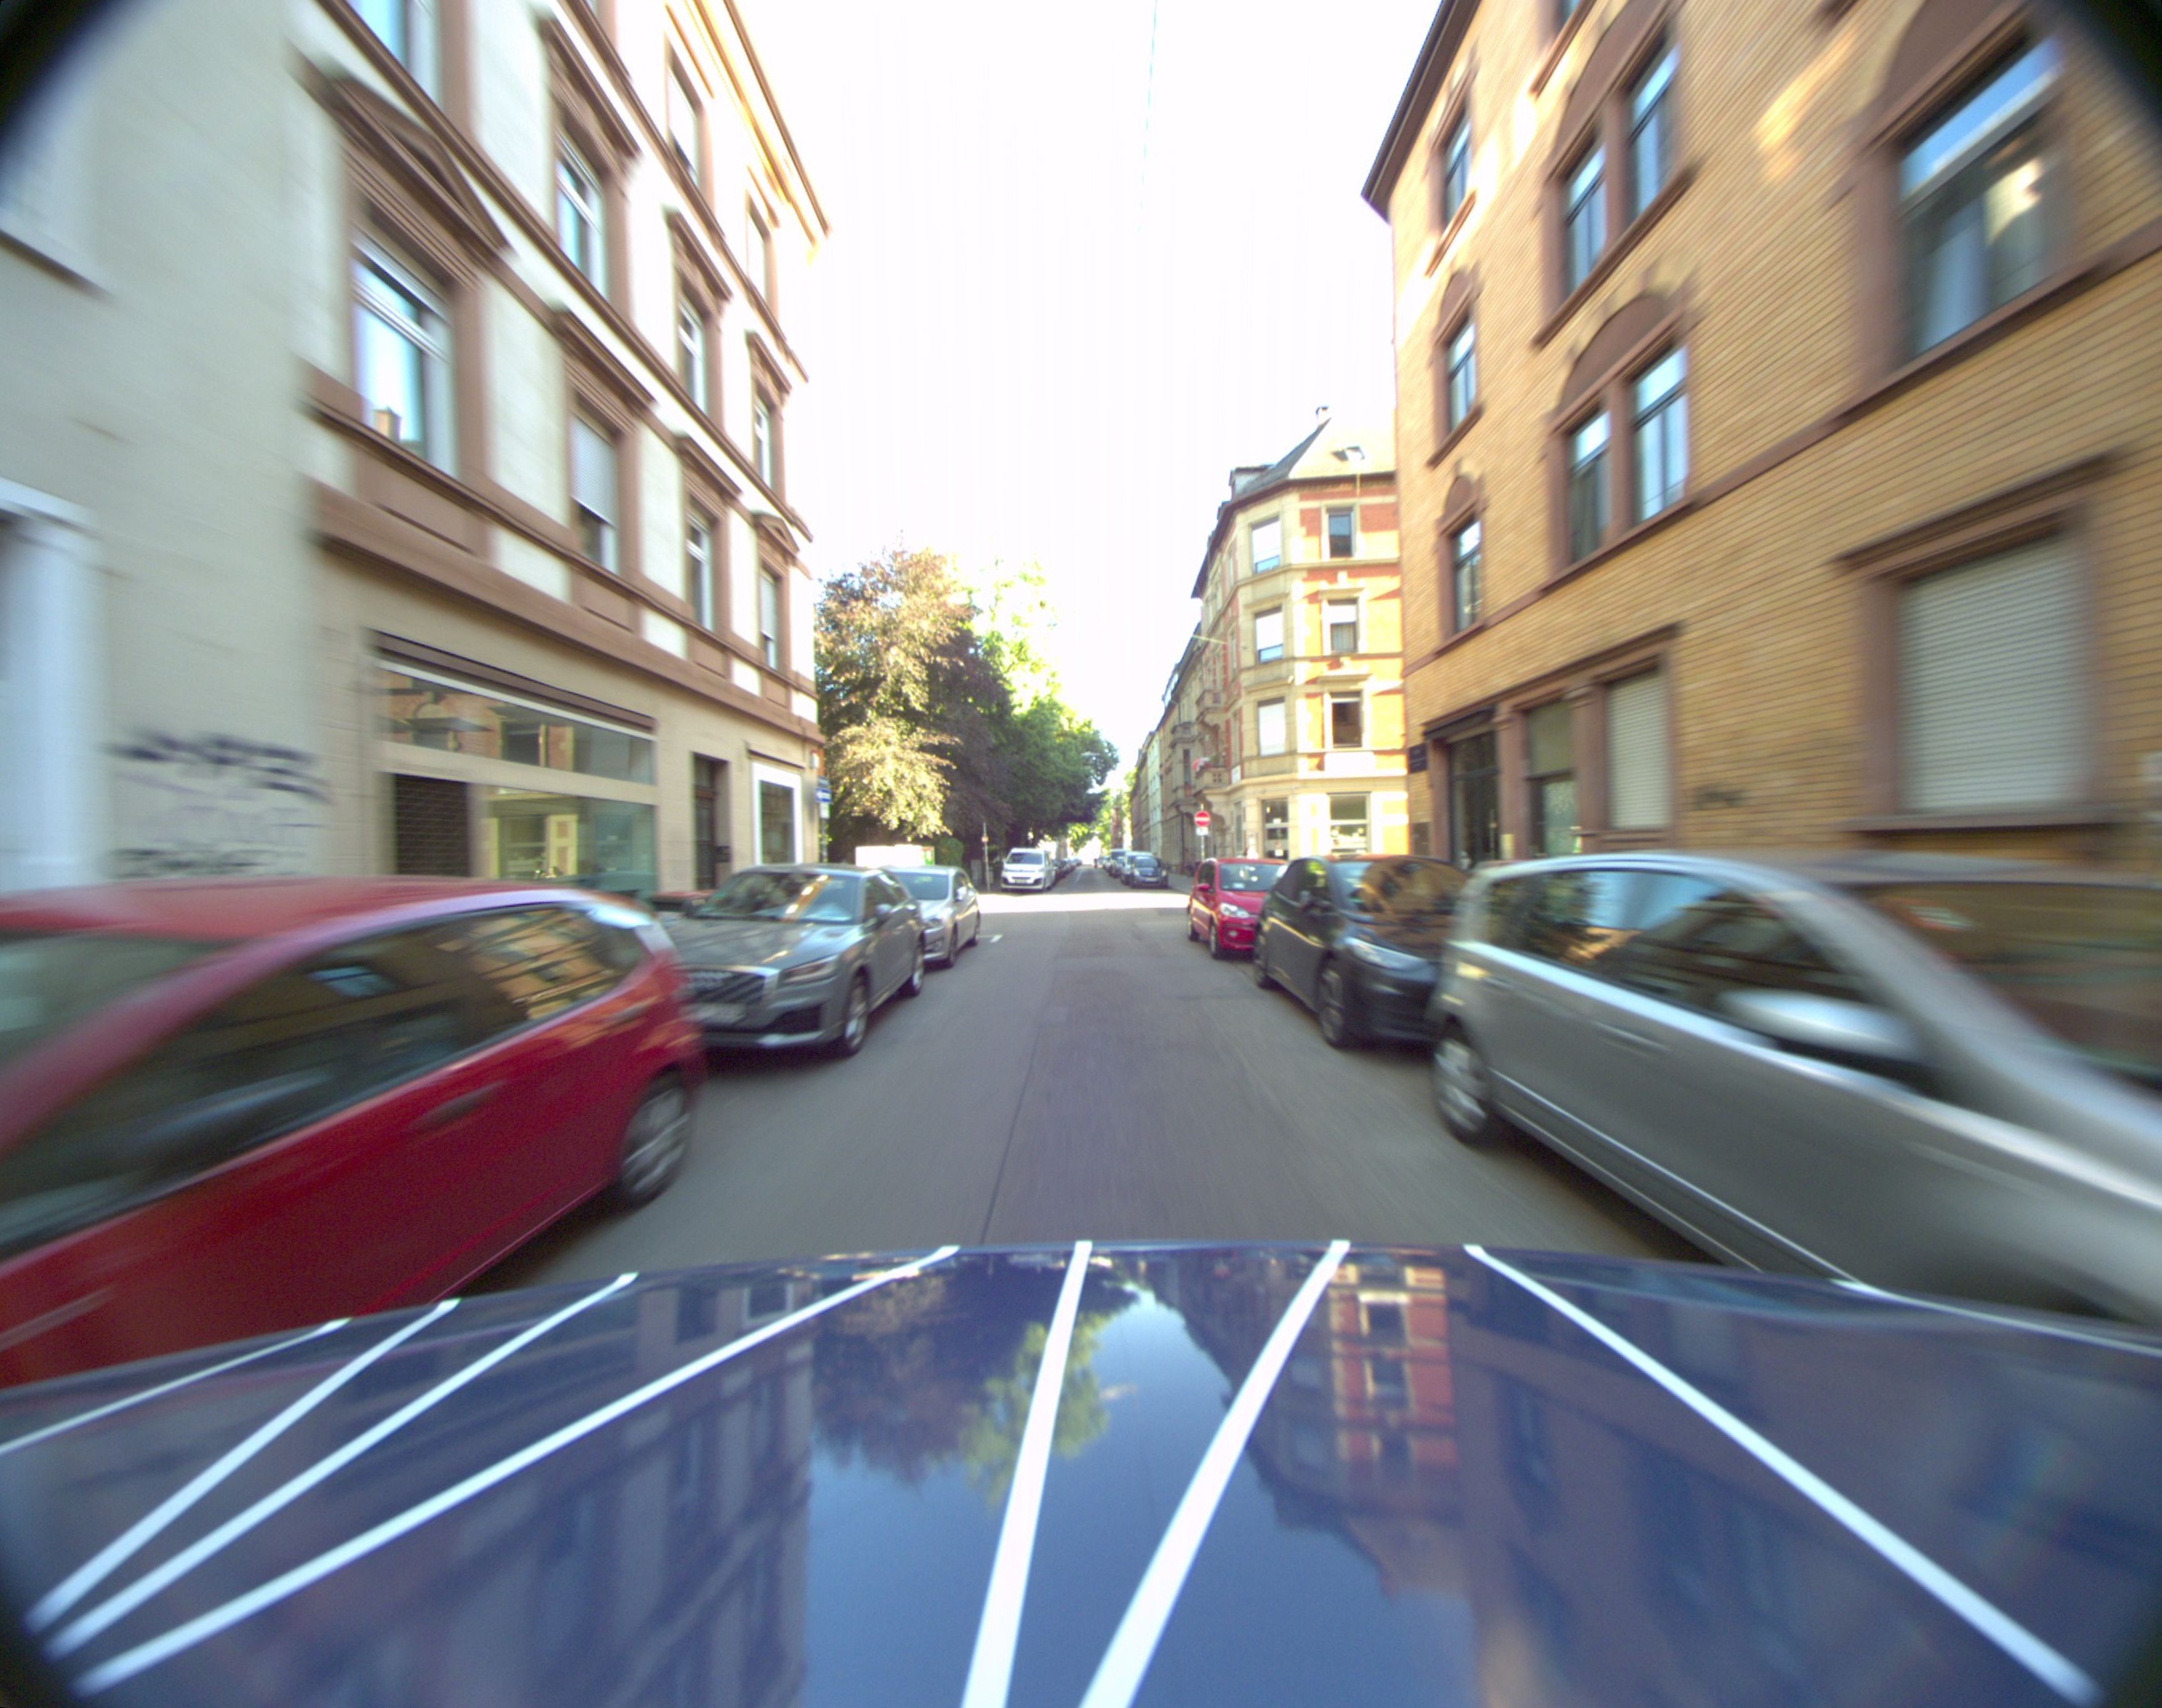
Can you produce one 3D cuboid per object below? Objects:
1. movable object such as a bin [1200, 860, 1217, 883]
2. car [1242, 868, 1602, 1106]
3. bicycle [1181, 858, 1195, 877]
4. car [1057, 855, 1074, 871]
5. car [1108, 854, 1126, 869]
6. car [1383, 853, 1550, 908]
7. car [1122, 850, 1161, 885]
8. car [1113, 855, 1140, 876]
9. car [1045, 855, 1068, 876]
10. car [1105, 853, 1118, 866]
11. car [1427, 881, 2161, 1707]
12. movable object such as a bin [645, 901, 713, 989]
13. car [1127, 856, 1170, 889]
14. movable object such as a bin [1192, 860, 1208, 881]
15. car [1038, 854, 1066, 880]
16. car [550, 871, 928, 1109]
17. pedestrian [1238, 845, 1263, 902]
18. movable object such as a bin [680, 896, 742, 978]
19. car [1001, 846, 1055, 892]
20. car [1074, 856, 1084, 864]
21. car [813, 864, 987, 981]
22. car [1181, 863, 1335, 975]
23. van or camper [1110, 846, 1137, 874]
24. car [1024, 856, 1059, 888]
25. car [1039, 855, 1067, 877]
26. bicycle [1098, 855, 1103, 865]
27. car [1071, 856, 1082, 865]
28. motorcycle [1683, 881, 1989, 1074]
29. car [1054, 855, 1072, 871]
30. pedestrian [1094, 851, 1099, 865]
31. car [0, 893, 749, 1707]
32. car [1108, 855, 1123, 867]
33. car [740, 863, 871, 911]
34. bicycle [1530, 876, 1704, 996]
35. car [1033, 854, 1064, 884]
[{"bbox_3d":[6.146,0.833,36.756,0.639,1.035,0.856,-4,1,1],"label":"movable object such as a bin"},{"bbox_3d":[2.709,0.921,7.138,1.699,1.512,4.096,0,0,3],"label":"car"},{"bbox_3d":[6.268,0.775,44.492,0.572,1.035,1.546,-4,0,1],"label":"bicycle"},{"bbox_3d":[-1.603,0.909,79.598,1.603,1.496,3.720,3,1,1],"label":"car"},{"bbox_3d":[3.750,0.774,79.011,1.735,1.447,4.521,0,0,1],"label":"car"},{"bbox_3d":[12.372,0.833,24.631,4.436,1.522,1.867,-2,3,7],"label":"car"},{"bbox_3d":[3.234,0.688,41.484,1.835,1.801,4.572,0,0,1],"label":"car"},{"bbox_3d":[3.317,0.804,56.024,1.771,1.505,4.193,0,0,0],"label":"car"},{"bbox_3d":[-2.004,0.875,60.510,1.680,1.433,4.693,3,1,-3],"label":"car"},{"bbox_3d":[4.057,0.752,100.472,1.713,1.664,4.278,0,1,2],"label":"car"},{"bbox_3d":[2.693,0.911,2.273,1.660,1.512,3.945,0,0,3],"label":"car"},{"bbox_3d":[-5.012,1.118,9.501,0.515,1.033,0.594,0,1,1],"label":"movable object such as a bin"},{"bbox_3d":[3.162,0.836,36.063,1.697,1.472,3.973,0,0,0],"label":"car"},{"bbox_3d":[6.107,0.828,39.001,0.639,1.035,0.856,-4,1,1],"label":"movable object such as a bin"},{"bbox_3d":[-1.941,0.846,51.840,1.622,1.615,3.864,3,1,2],"label":"car"},{"bbox_3d":[-2.681,0.954,7.079,1.748,1.498,4.020,0,0,-1],"label":"car"},{"bbox_3d":[5.055,0.558,22.670,0.549,1.635,0.717,-2,3,1],"label":"pedestrian"},{"bbox_3d":[-4.983,1.102,10.268,0.515,1.033,0.619,0,1,1],"label":"movable object such as a bin"},{"bbox_3d":[-2.339,0.636,34.836,1.919,1.987,4.792,0,0,3],"label":"car"},{"bbox_3d":[-0.344,1.230,167.127,1.998,1.659,4.001,-2,0,2],"label":"car"},{"bbox_3d":[-2.667,0.942,12.266,1.748,1.498,4.357,0,0,0],"label":"car"},{"bbox_3d":[2.631,0.909,12.110,1.632,1.472,3.601,0,0,0],"label":"car"},{"bbox_3d":[3.451,0.472,62.325,2.182,2.135,5.155,0,0,2],"label":"van or camper"},{"bbox_3d":[-2.088,0.903,40.645,1.723,1.562,3.827,-2,0,-2],"label":"car"},{"bbox_3d":[-2.025,0.848,55.615,1.622,1.478,3.776,3,1,3],"label":"car"},{"bbox_3d":[2.467,0.787,97.791,0.572,1.236,1.844,-5,0,1],"label":"bicycle"},{"bbox_3d":[-0.860,1.143,136.052,1.845,1.643,4.000,-1,0,1],"label":"car"},{"bbox_3d":[5.778,0.855,6.006,0.534,1.199,1.908,-2,0,1],"label":"motorcycle"},{"bbox_3d":[-1.764,0.892,75.710,1.603,1.462,3.869,1,1,1],"label":"car"},{"bbox_3d":[1.955,0.547,97.736,0.489,1.792,1.115,-4,0,0],"label":"pedestrian"},{"bbox_3d":[-2.749,0.979,2.340,1.602,1.498,4.184,0,0,0],"label":"car"},{"bbox_3d":[3.996,0.808,89.508,1.713,1.409,3.803,0,1,2],"label":"car"},{"bbox_3d":[-9.761,1.162,27.125,3.927,1.431,1.798,-2,2,5],"label":"car"},{"bbox_3d":[5.839,0.835,8.424,0.534,1.068,1.891,-6,0,1],"label":"bicycle"},{"bbox_3d":[-2.003,0.840,46.034,1.744,1.594,4.262,3,1,-3],"label":"car"}]
